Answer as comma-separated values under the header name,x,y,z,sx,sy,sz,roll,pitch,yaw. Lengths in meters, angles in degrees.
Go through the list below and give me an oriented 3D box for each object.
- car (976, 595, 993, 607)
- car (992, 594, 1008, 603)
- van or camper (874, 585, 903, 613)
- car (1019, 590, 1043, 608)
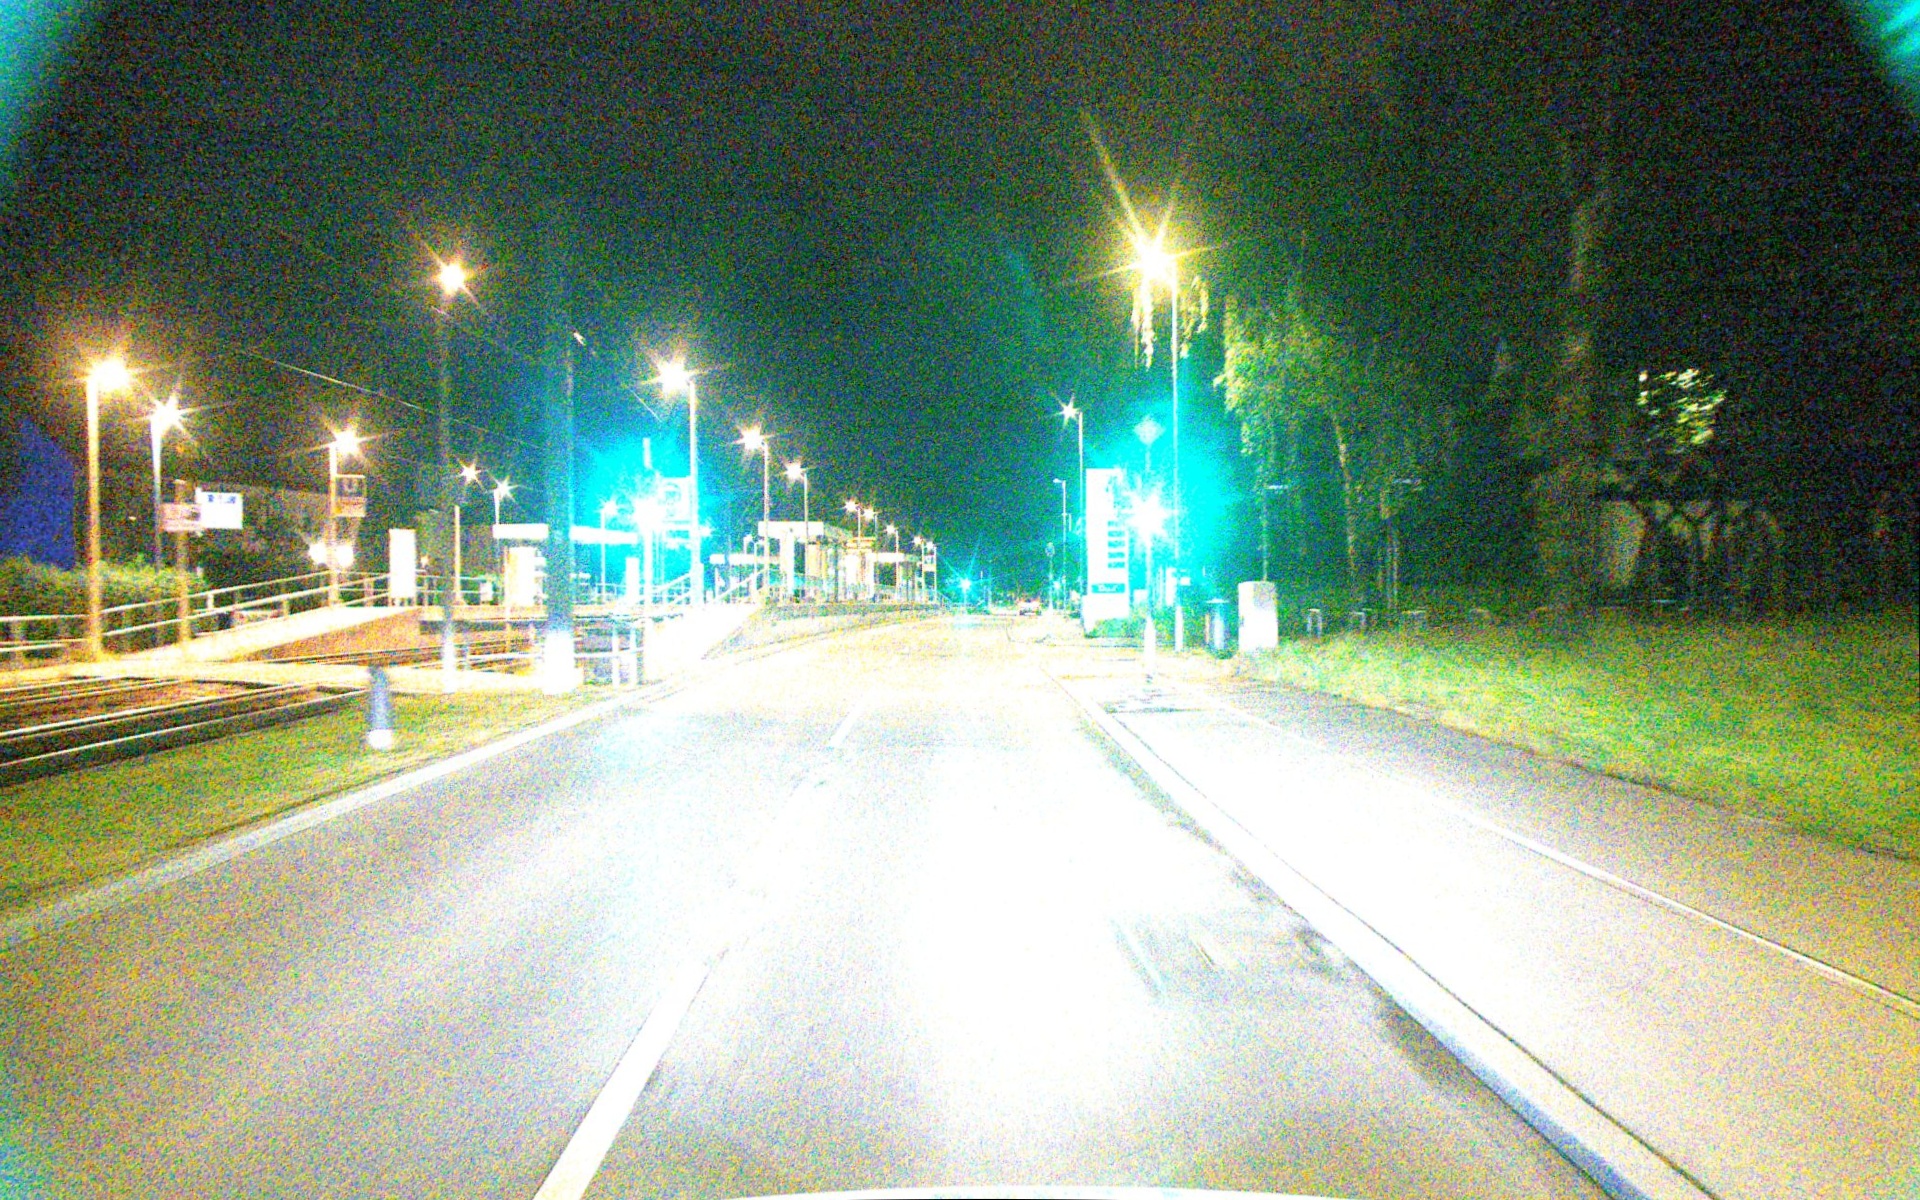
name,x,y,z,sx,sy,sz,roll,pitch,yaw
car,3.594,0.116,242.510,1.951,1.656,4.681,0,0,8
car,6.374,-0.232,262.169,1.951,1.361,5.436,0,0,8
van or camper,-7.229,-0.065,167.971,2.225,2.693,5.667,-2,0,4
car,6.580,-0.069,152.378,2.116,1.610,4.015,1,0,4
